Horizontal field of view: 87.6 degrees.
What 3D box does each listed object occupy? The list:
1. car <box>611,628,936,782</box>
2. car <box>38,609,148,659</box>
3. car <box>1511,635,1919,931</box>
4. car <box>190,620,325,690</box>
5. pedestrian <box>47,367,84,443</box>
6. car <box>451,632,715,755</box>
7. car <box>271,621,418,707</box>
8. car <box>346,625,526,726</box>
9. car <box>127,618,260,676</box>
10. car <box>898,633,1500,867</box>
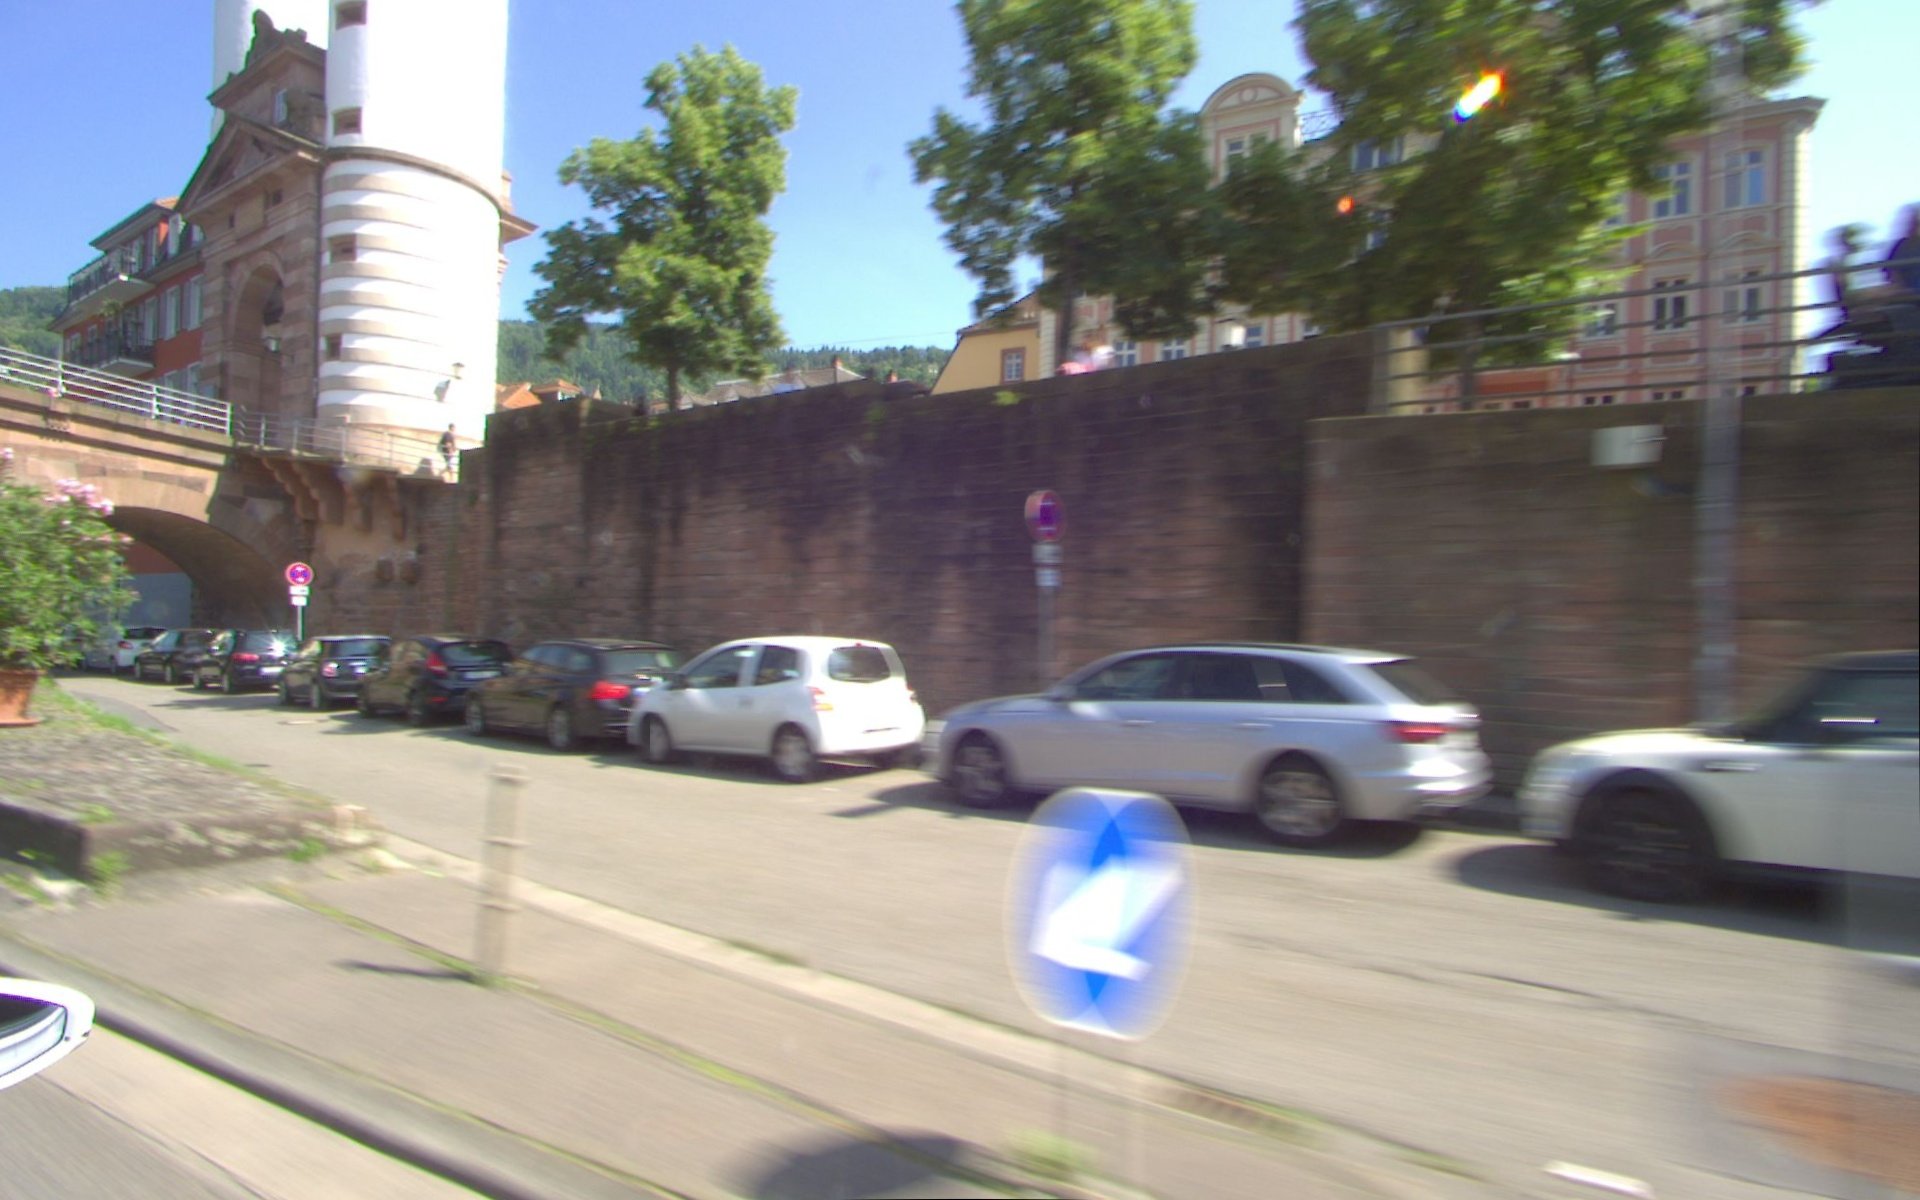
[{"bbox_3d":[-2.187,1.090,11.484,3.500,1.476,1.707,-1,-2,35],"label":"car"},{"bbox_3d":[-28.969,1.116,33.409,4.359,1.512,1.887,1,-1,37],"label":"car"},{"bbox_3d":[5.323,0.935,5.456,3.856,1.431,1.606,-1,-2,39],"label":"car"},{"bbox_3d":[-17.206,1.275,24.460,3.939,1.522,1.768,0,-1,40],"label":"car"},{"bbox_3d":[-26.391,-5.737,29.555,0.578,2.040,0.682,0,-1,34],"label":"pedestrian"},{"bbox_3d":[-5.383,1.179,14.013,4.359,1.406,1.702,-1,-1,43],"label":"car"},{"bbox_3d":[-12.484,1.222,20.231,3.861,1.540,1.582,0,-2,44],"label":"car"},{"bbox_3d":[-8.987,1.205,17.051,3.673,1.503,1.488,0,-2,41],"label":"car"},{"bbox_3d":[-21.236,1.261,27.692,4.433,1.455,1.770,0,-2,37],"label":"car"},{"bbox_3d":[1.833,1.040,8.528,4.694,1.450,1.749,-1,-2,37],"label":"car"}]
